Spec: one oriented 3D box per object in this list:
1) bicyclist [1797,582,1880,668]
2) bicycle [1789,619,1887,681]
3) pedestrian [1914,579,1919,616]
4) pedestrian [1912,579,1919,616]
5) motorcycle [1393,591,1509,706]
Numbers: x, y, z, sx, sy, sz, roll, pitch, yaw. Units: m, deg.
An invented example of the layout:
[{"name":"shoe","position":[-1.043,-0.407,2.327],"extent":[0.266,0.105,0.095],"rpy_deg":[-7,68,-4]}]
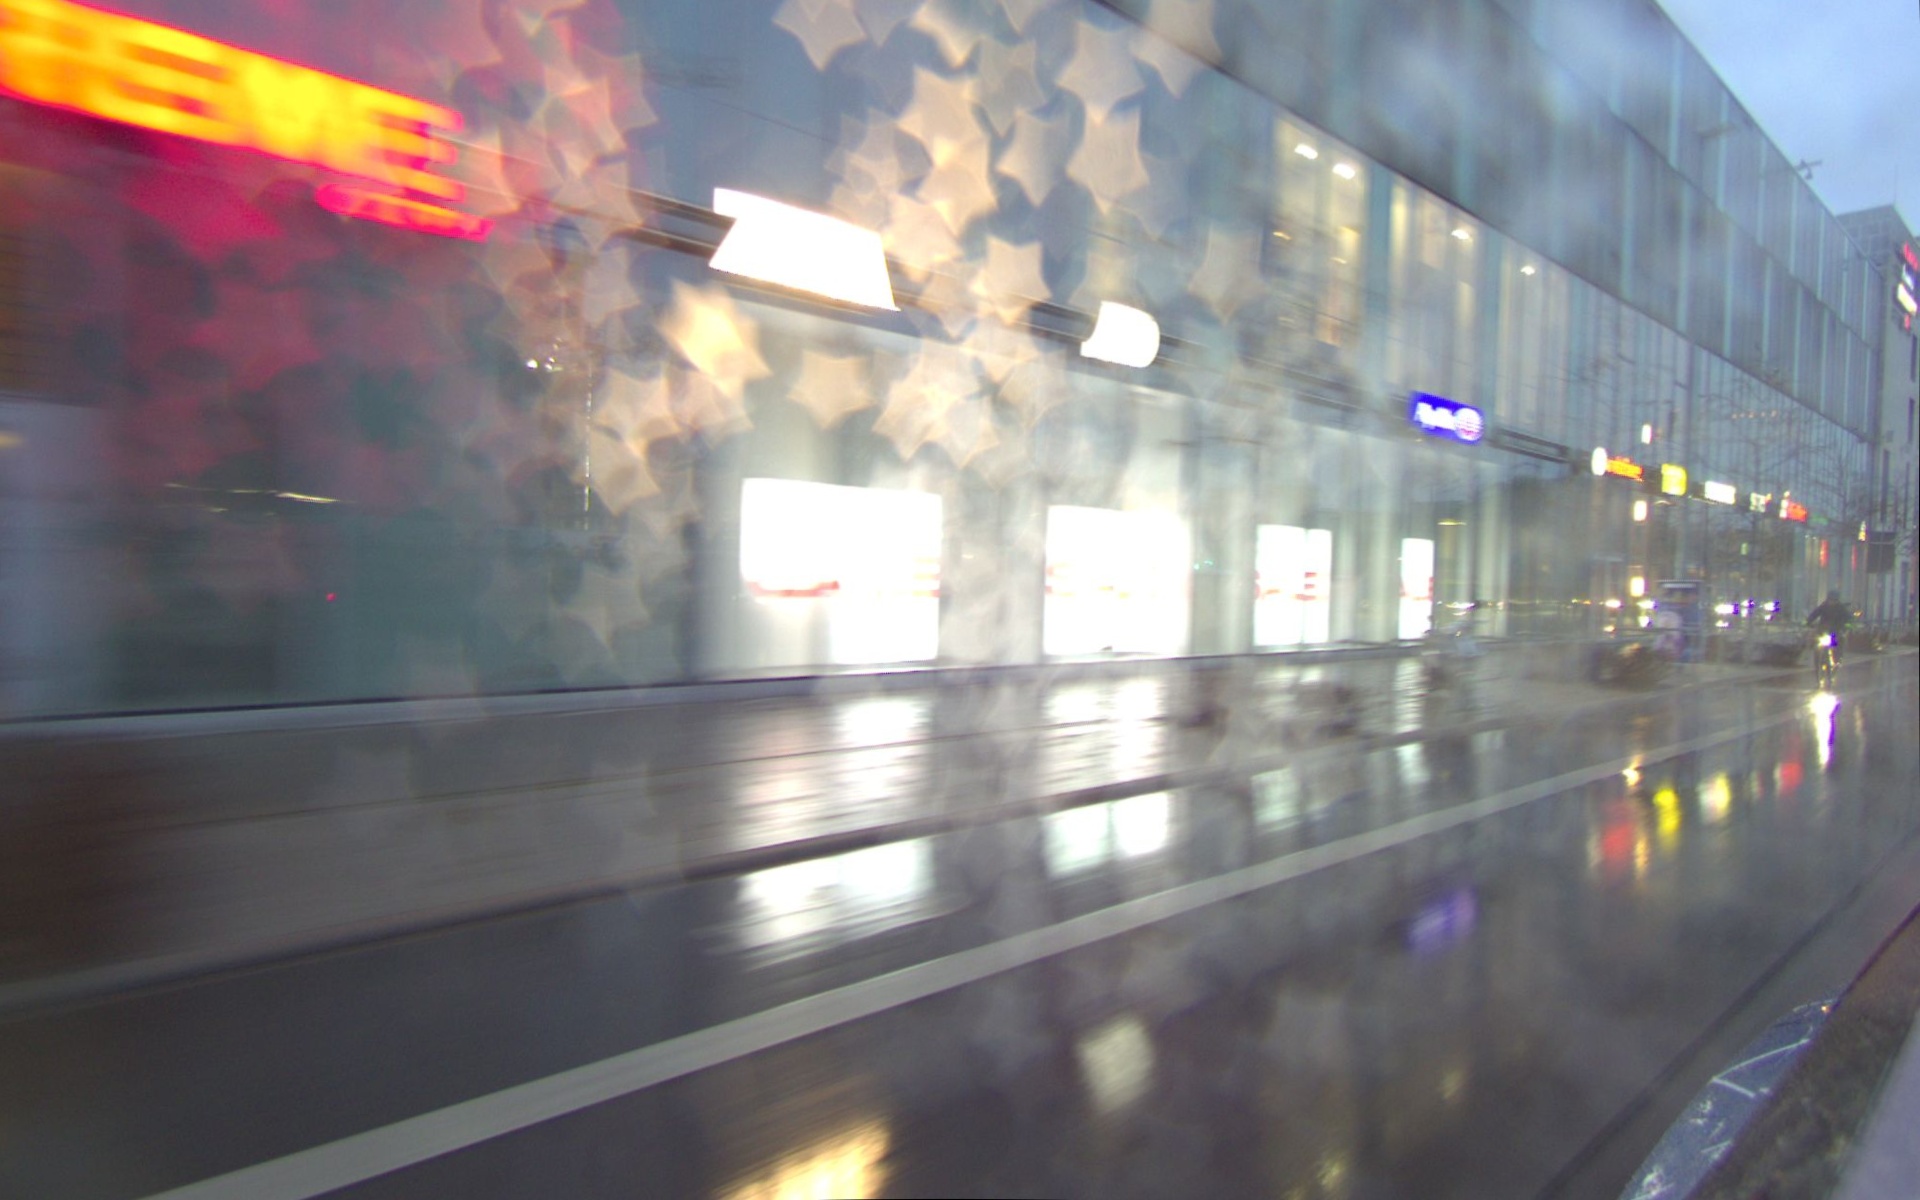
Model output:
[{"name":"bicyclist","position":[15.818,0.430,18.226],"extent":[1.047,1.481,0.945],"rpy_deg":[0,1,-38]},{"name":"bicycle","position":[15.853,0.873,18.254],"extent":[2.199,1.012,0.945],"rpy_deg":[0,1,-38]},{"name":"pedestrian","position":[57.734,-0.148,60.381],"extent":[0.569,2.188,0.969],"rpy_deg":[1,1,-27]},{"name":"pedestrian","position":[57.244,-0.142,59.999],"extent":[0.696,2.219,0.963],"rpy_deg":[1,1,-28]},{"name":"motorcycle","position":[6.443,0.590,13.390],"extent":[0.584,1.350,1.910],"rpy_deg":[1,2,0]}]
